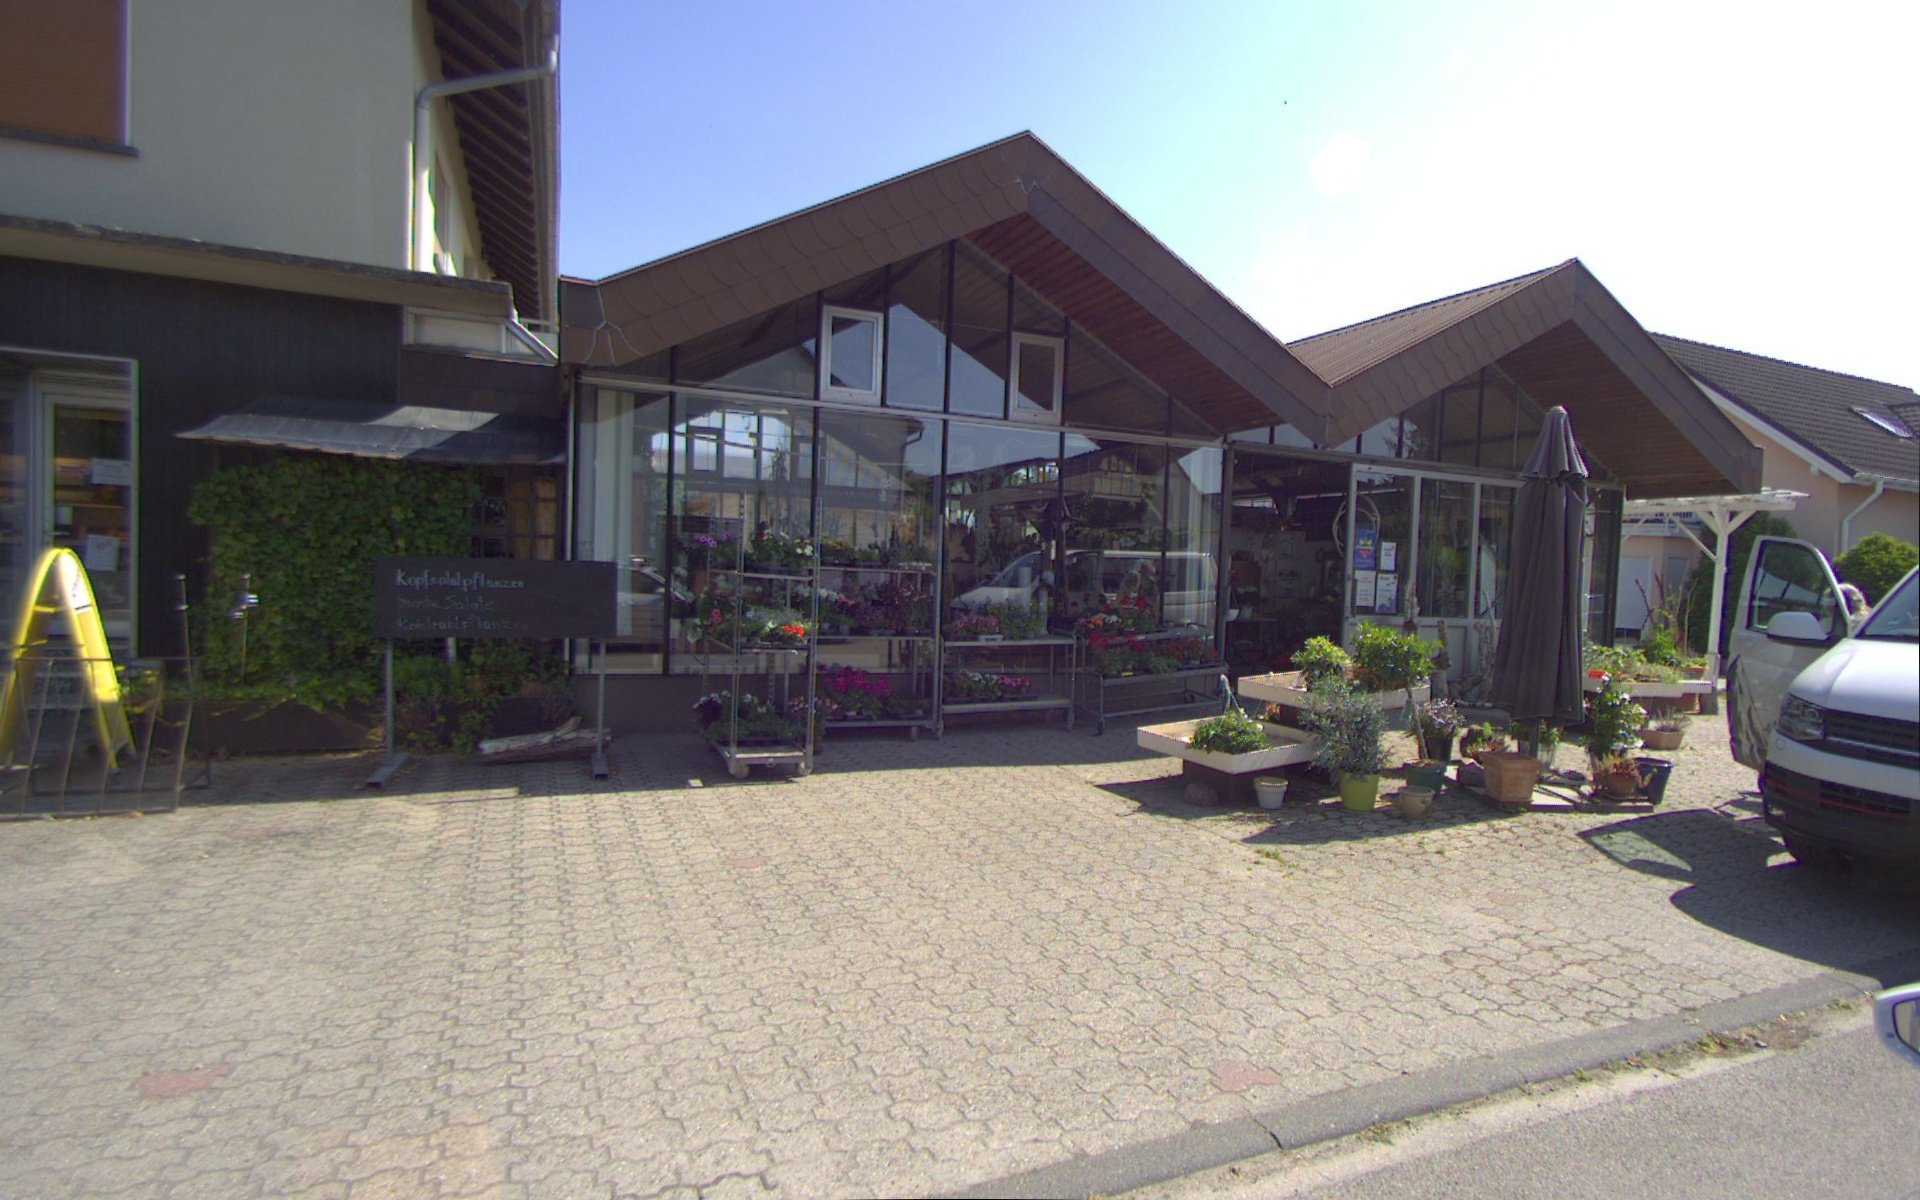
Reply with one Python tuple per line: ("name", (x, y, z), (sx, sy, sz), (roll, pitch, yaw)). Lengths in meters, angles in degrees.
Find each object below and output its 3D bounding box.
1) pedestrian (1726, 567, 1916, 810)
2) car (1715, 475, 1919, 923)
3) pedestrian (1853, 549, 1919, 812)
("pedestrian", (5.882, 0.564, 6.912), (0.629, 1.559, 0.720), (2, 3, 10))
("car", (6.665, 0.514, 5.392), (4.825, 2.041, 1.924), (1, 2, -23))
("pedestrian", (6.755, 0.540, 6.848), (0.629, 1.755, 0.692), (2, 3, 7))
